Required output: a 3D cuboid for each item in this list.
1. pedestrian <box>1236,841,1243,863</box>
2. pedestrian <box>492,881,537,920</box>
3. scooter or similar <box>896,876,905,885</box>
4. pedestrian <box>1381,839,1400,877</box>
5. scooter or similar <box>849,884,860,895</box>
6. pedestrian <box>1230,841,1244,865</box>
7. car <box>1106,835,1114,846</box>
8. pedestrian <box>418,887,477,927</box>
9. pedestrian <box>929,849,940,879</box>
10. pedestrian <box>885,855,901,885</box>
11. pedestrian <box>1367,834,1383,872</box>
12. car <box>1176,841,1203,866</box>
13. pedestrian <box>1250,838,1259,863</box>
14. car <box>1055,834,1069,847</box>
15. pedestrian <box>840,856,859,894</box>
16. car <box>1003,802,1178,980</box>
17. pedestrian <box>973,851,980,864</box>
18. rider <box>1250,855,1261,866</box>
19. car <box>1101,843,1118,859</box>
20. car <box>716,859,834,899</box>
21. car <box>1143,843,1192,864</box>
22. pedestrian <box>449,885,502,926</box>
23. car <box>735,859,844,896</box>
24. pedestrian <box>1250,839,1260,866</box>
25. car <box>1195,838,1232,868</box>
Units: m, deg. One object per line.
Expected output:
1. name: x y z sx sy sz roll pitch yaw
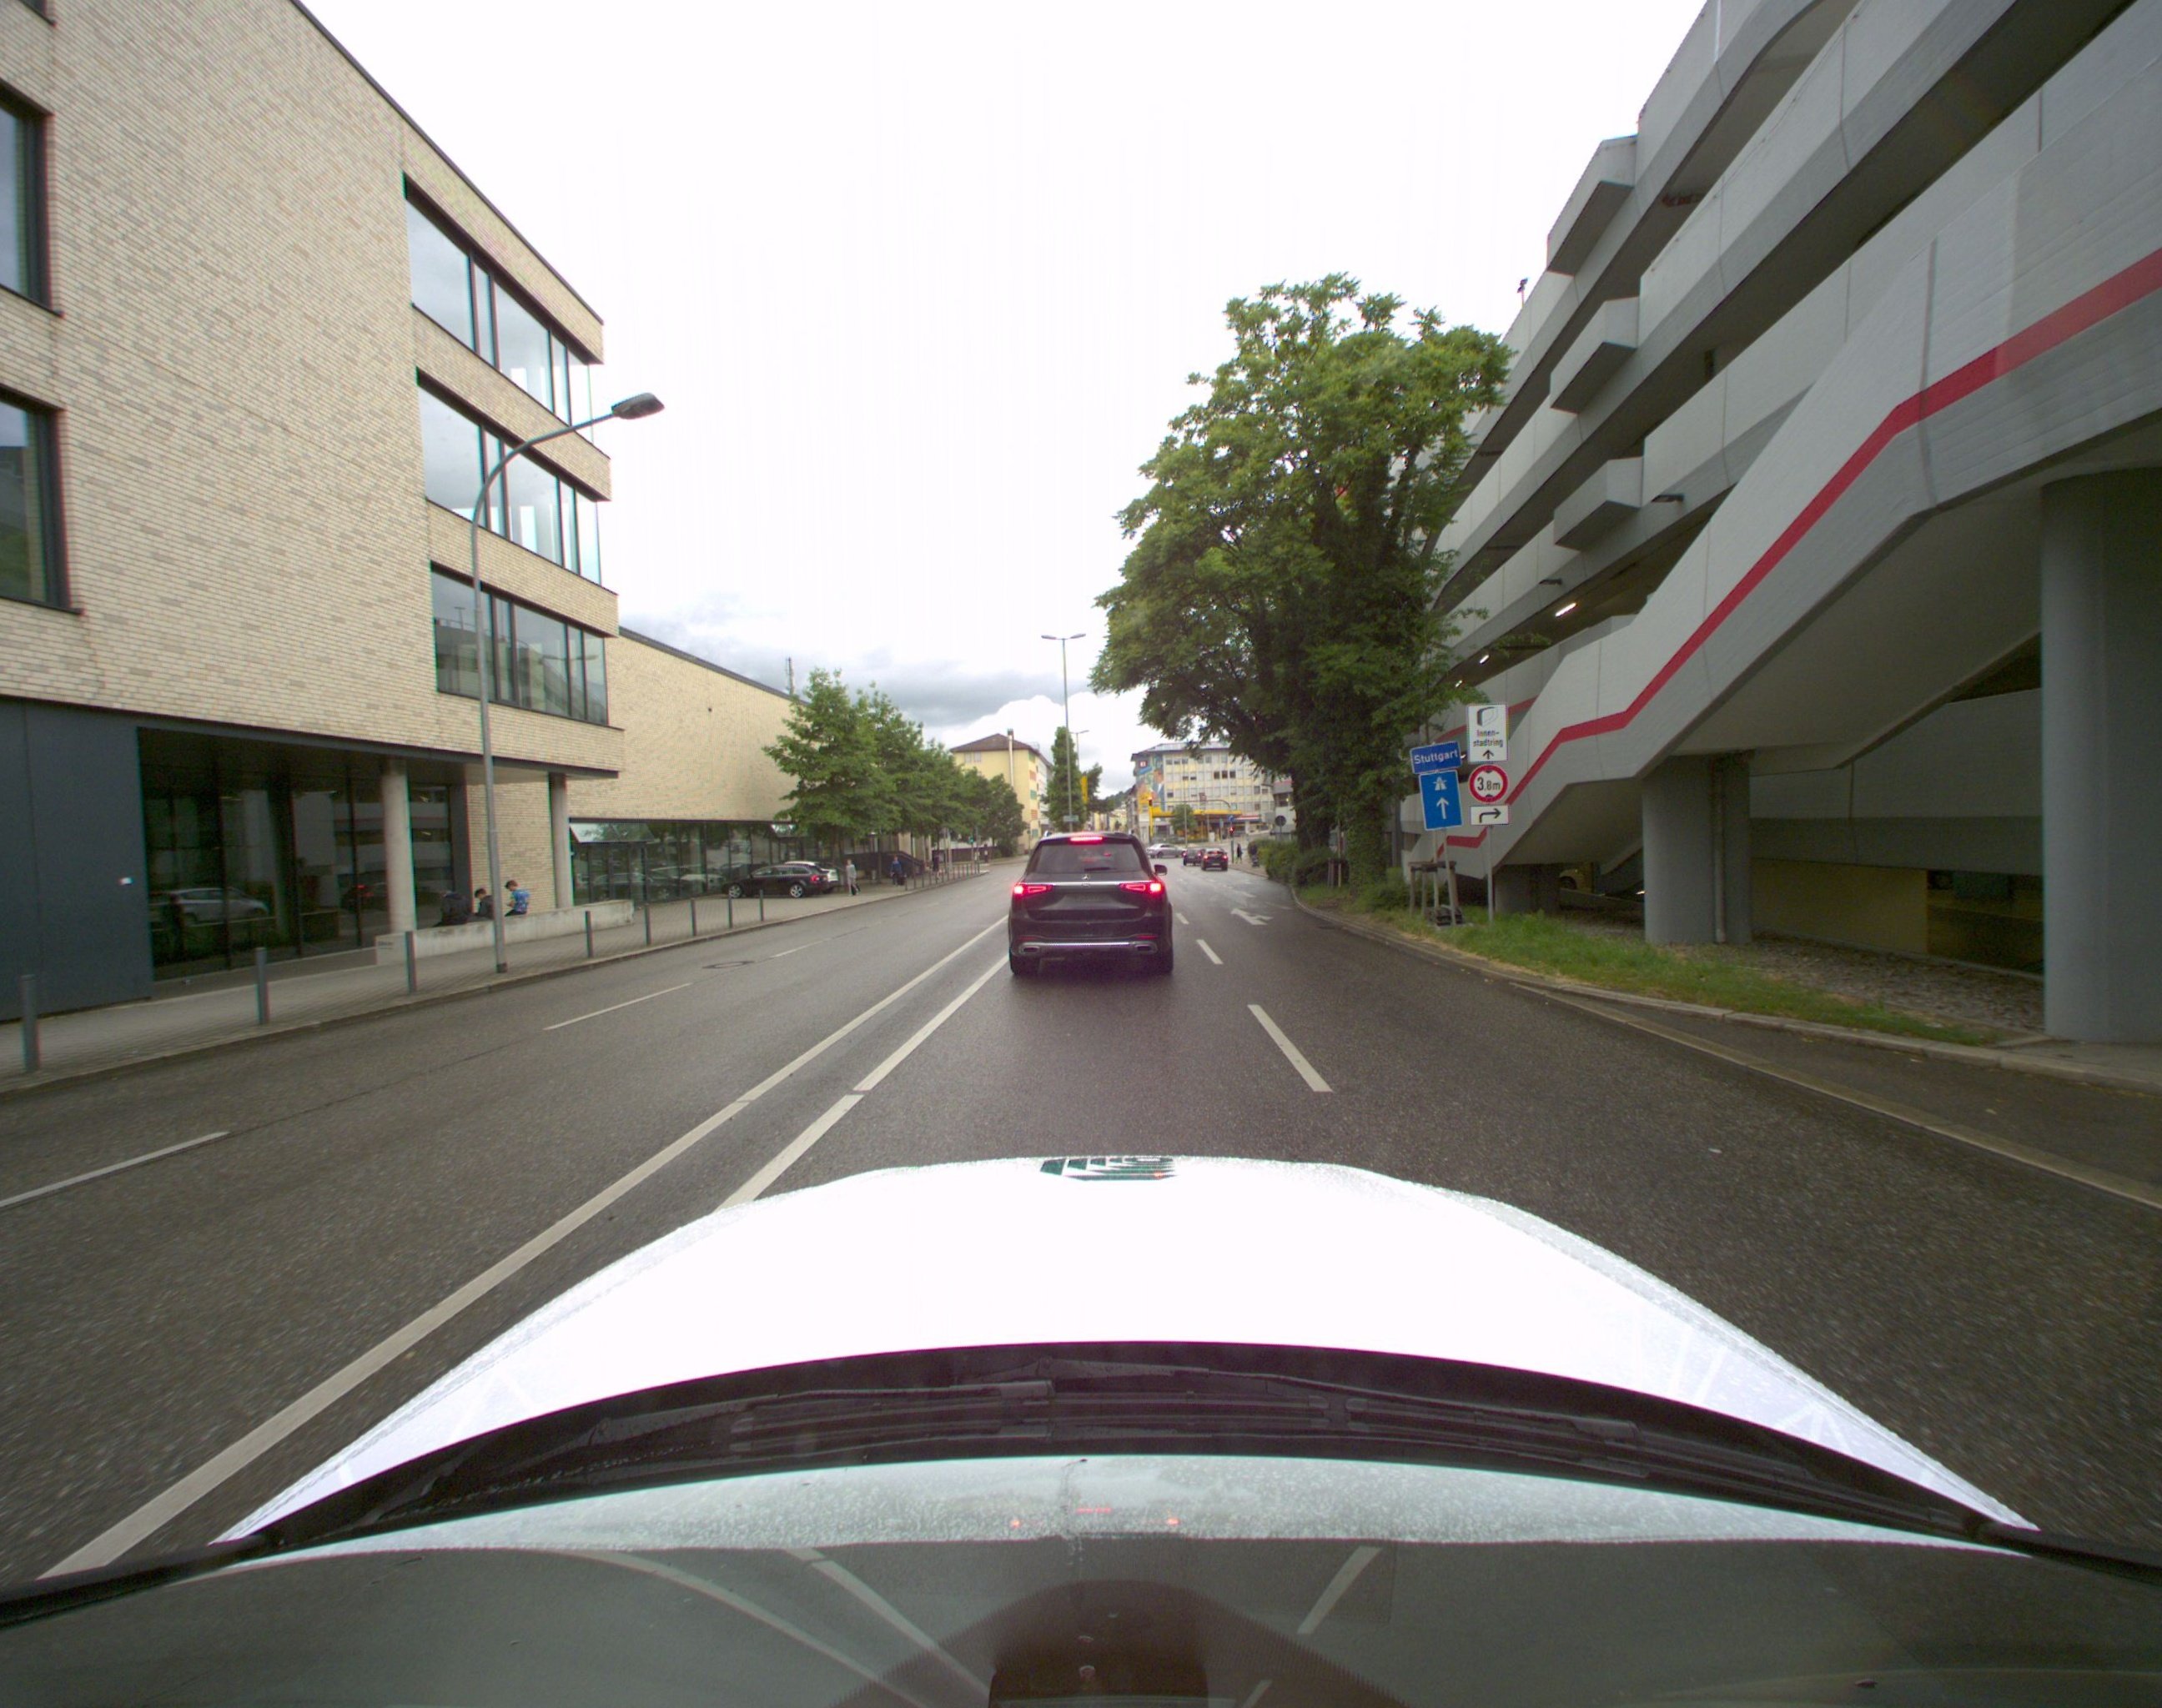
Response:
1. pedestrian: 13.484 -0.176 69.401 0.517 1.911 0.556 0 -1 2
2. pedestrian: -13.211 1.083 18.996 0.679 0.886 0.524 0 -1 -1
3. scooter or similar: -10.339 1.514 46.669 0.358 0.536 0.499 0 -2 2
4. pedestrian: 12.429 0.160 32.735 0.579 1.501 0.505 0 -1 7
5. scooter or similar: -10.343 1.613 37.248 0.278 0.501 0.617 0 -1 4
6. pedestrian: 13.359 -0.077 69.870 1.021 2.013 0.999 0 0 1
7. car: 7.442 -3.431 208.106 1.986 2.011 4.007 0 11 1
8. pedestrian: -13.100 1.087 16.864 0.595 0.786 0.761 0 -1 2
9. pedestrian: -9.908 0.675 55.021 0.586 2.014 0.749 0 -1 1
10. pedestrian: -10.682 0.919 46.314 0.686 1.726 0.754 0 -3 1
11. pedestrian: 11.850 -0.048 32.830 0.548 1.532 0.489 0 -1 9
12. car: 9.170 -0.016 69.117 1.985 2.014 4.003 0 -1 3
13. pedestrian: 13.427 -0.292 62.996 0.617 1.935 0.610 0 -1 2
14. car: -2.876 -2.067 125.791 1.986 1.875 5.142 0 -1 1
15. pedestrian: -10.483 0.950 36.813 0.673 1.696 0.479 0 2 2
16. car: 0.159 0.440 11.278 1.986 2.014 4.001 0 -1 1
17. pedestrian: -11.385 0.390 88.729 0.708 1.462 0.598 0 -1 1
18. rider: 12.353 0.464 57.671 0.689 0.740 0.634 0 -1 10
19. car: 3.645 -0.408 104.318 1.987 2.014 3.999 0 -1 0
20. car: -13.465 1.067 36.044 4.459 1.587 1.997 -1 0 -4
21. car: 9.103 -0.026 85.610 4.797 2.013 1.996 -2 1 -5
22. pedestrian: -13.184 1.117 17.740 0.584 0.845 0.728 -1 -1 2
23. car: -13.571 1.069 38.138 4.407 1.573 1.998 -1 2 -4
24. pedestrian: 12.489 -0.089 58.364 0.658 1.917 0.731 0 0 10
25. car: 9.314 -0.067 57.608 1.986 2.013 4.001 -1 0 1
